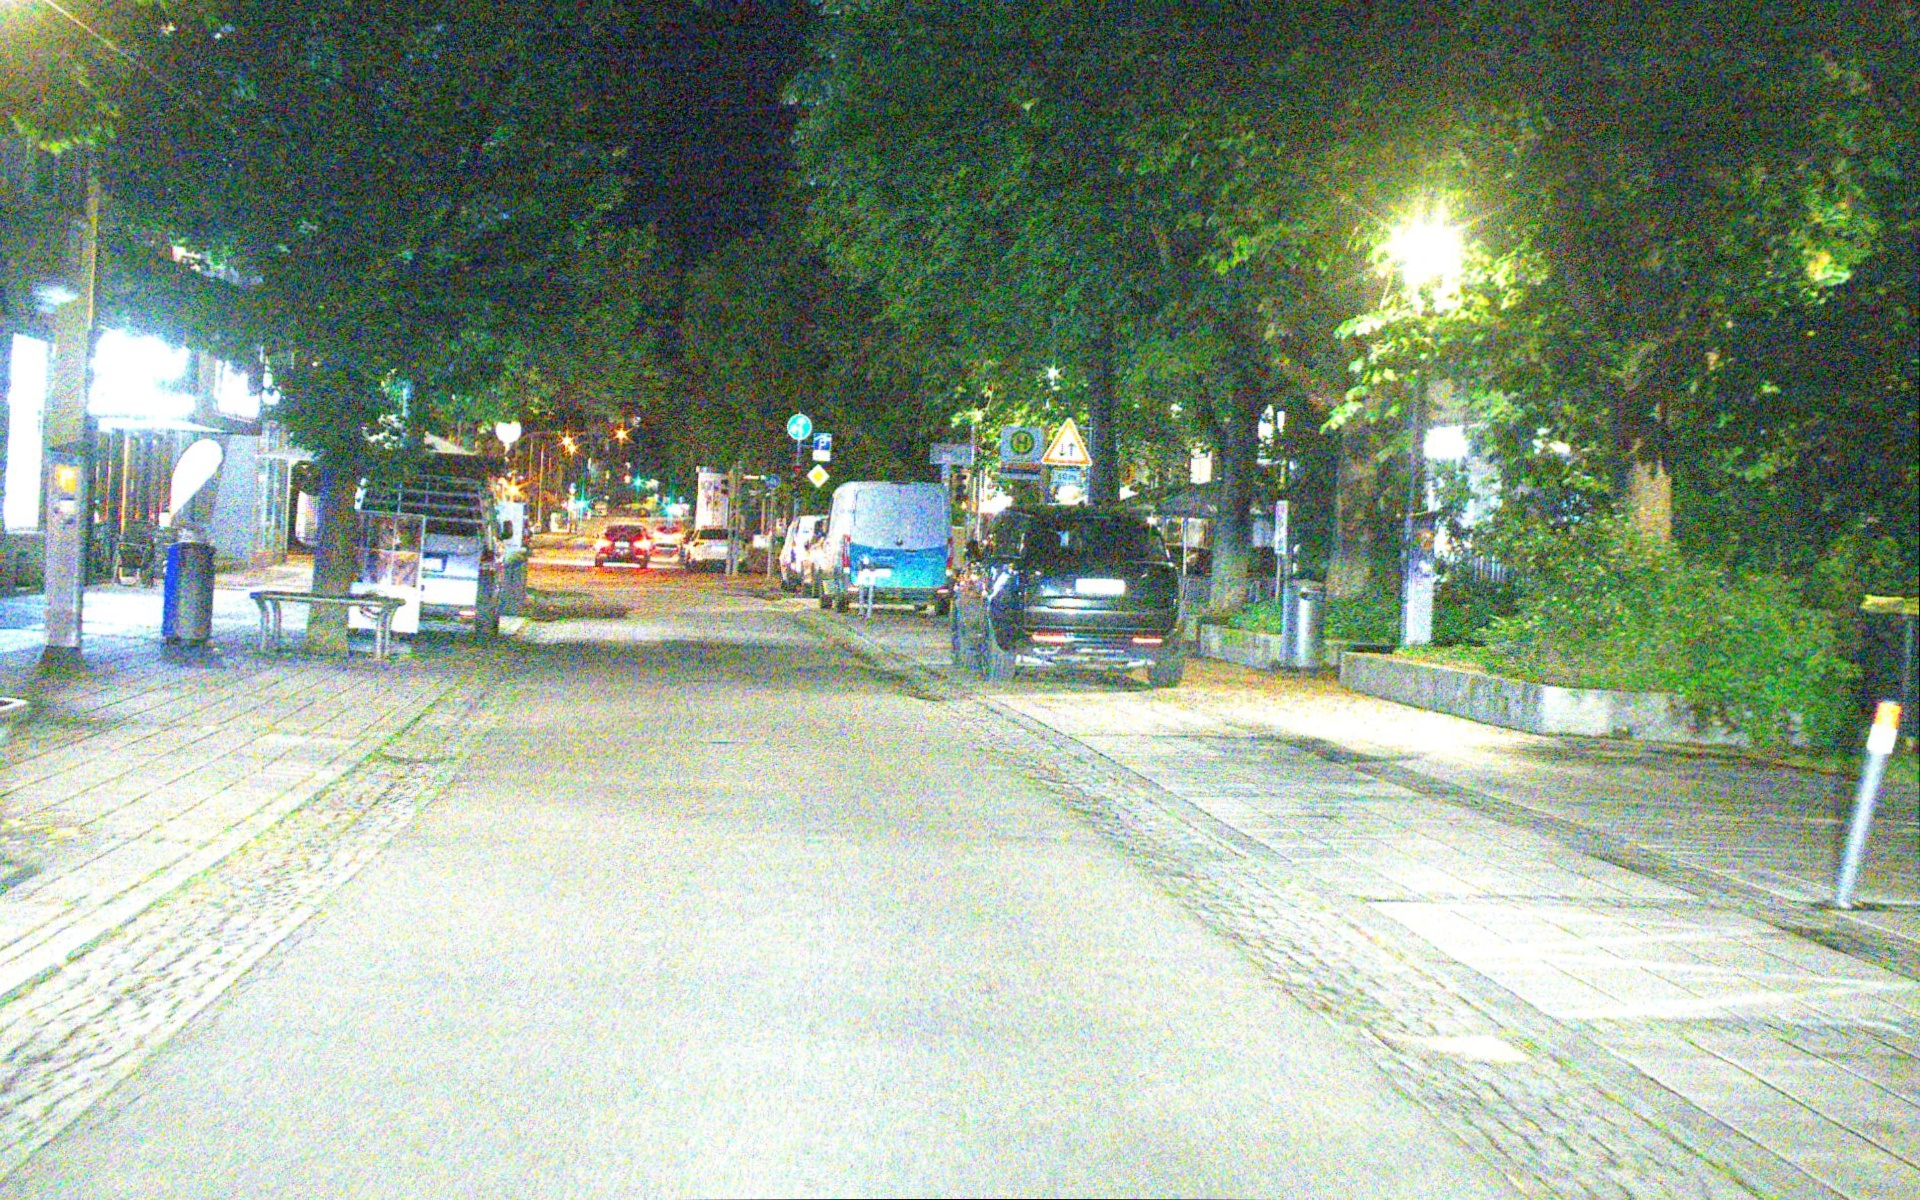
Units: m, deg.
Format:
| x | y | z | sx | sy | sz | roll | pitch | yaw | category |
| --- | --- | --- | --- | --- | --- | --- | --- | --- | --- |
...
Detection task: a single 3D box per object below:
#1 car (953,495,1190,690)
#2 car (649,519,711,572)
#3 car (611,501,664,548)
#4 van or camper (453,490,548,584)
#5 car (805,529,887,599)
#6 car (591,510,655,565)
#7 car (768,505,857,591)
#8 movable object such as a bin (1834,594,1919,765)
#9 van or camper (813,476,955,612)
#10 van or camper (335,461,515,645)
| x | y | z | sx | sy | sz | roll | pitch | yaw | category |
| --- | --- | --- | --- | --- | --- | --- | --- | --- | --- |
| 1.082 | -0.121 | 35.463 | 1.814 | 1.822 | 4.348 | 2 | 1 | -6 | car |
| -8.756 | -1.722 | 107.402 | 1.839 | 1.537 | 3.846 | 2 | 1 | -5 | car |
| -13.135 | -3.069 | 139.873 | 1.993 | 1.817 | 4.001 | 3 | 1 | -6 | car |
| -10.285 | -1.420 | 76.765 | 1.935 | 1.982 | 3.847 | 2 | 1 | -9 | van or camper |
| -2.484 | -0.799 | 74.328 | 1.531 | 1.413 | 3.846 | 2 | 1 | -5 | car |
| -11.807 | -2.201 | 120.267 | 1.993 | 1.817 | 4.001 | 3 | 1 | -8 | car |
| -3.463 | -1.220 | 80.171 | 1.839 | 1.894 | 3.846 | 2 | 1 | -5 | car |
| 7.702 | 0.645 | 27.324 | 1.104 | 1.302 | 1.010 | 4 | 0 | -7 | movable object such as a bin |
| -1.397 | -1.015 | 61.394 | 2.108 | 2.309 | 4.263 | 1 | 1 | -6 | van or camper |
| -6.505 | -0.594 | 42.161 | 1.866 | 2.004 | 4.263 | 4 | 1 | -7 | van or camper |
